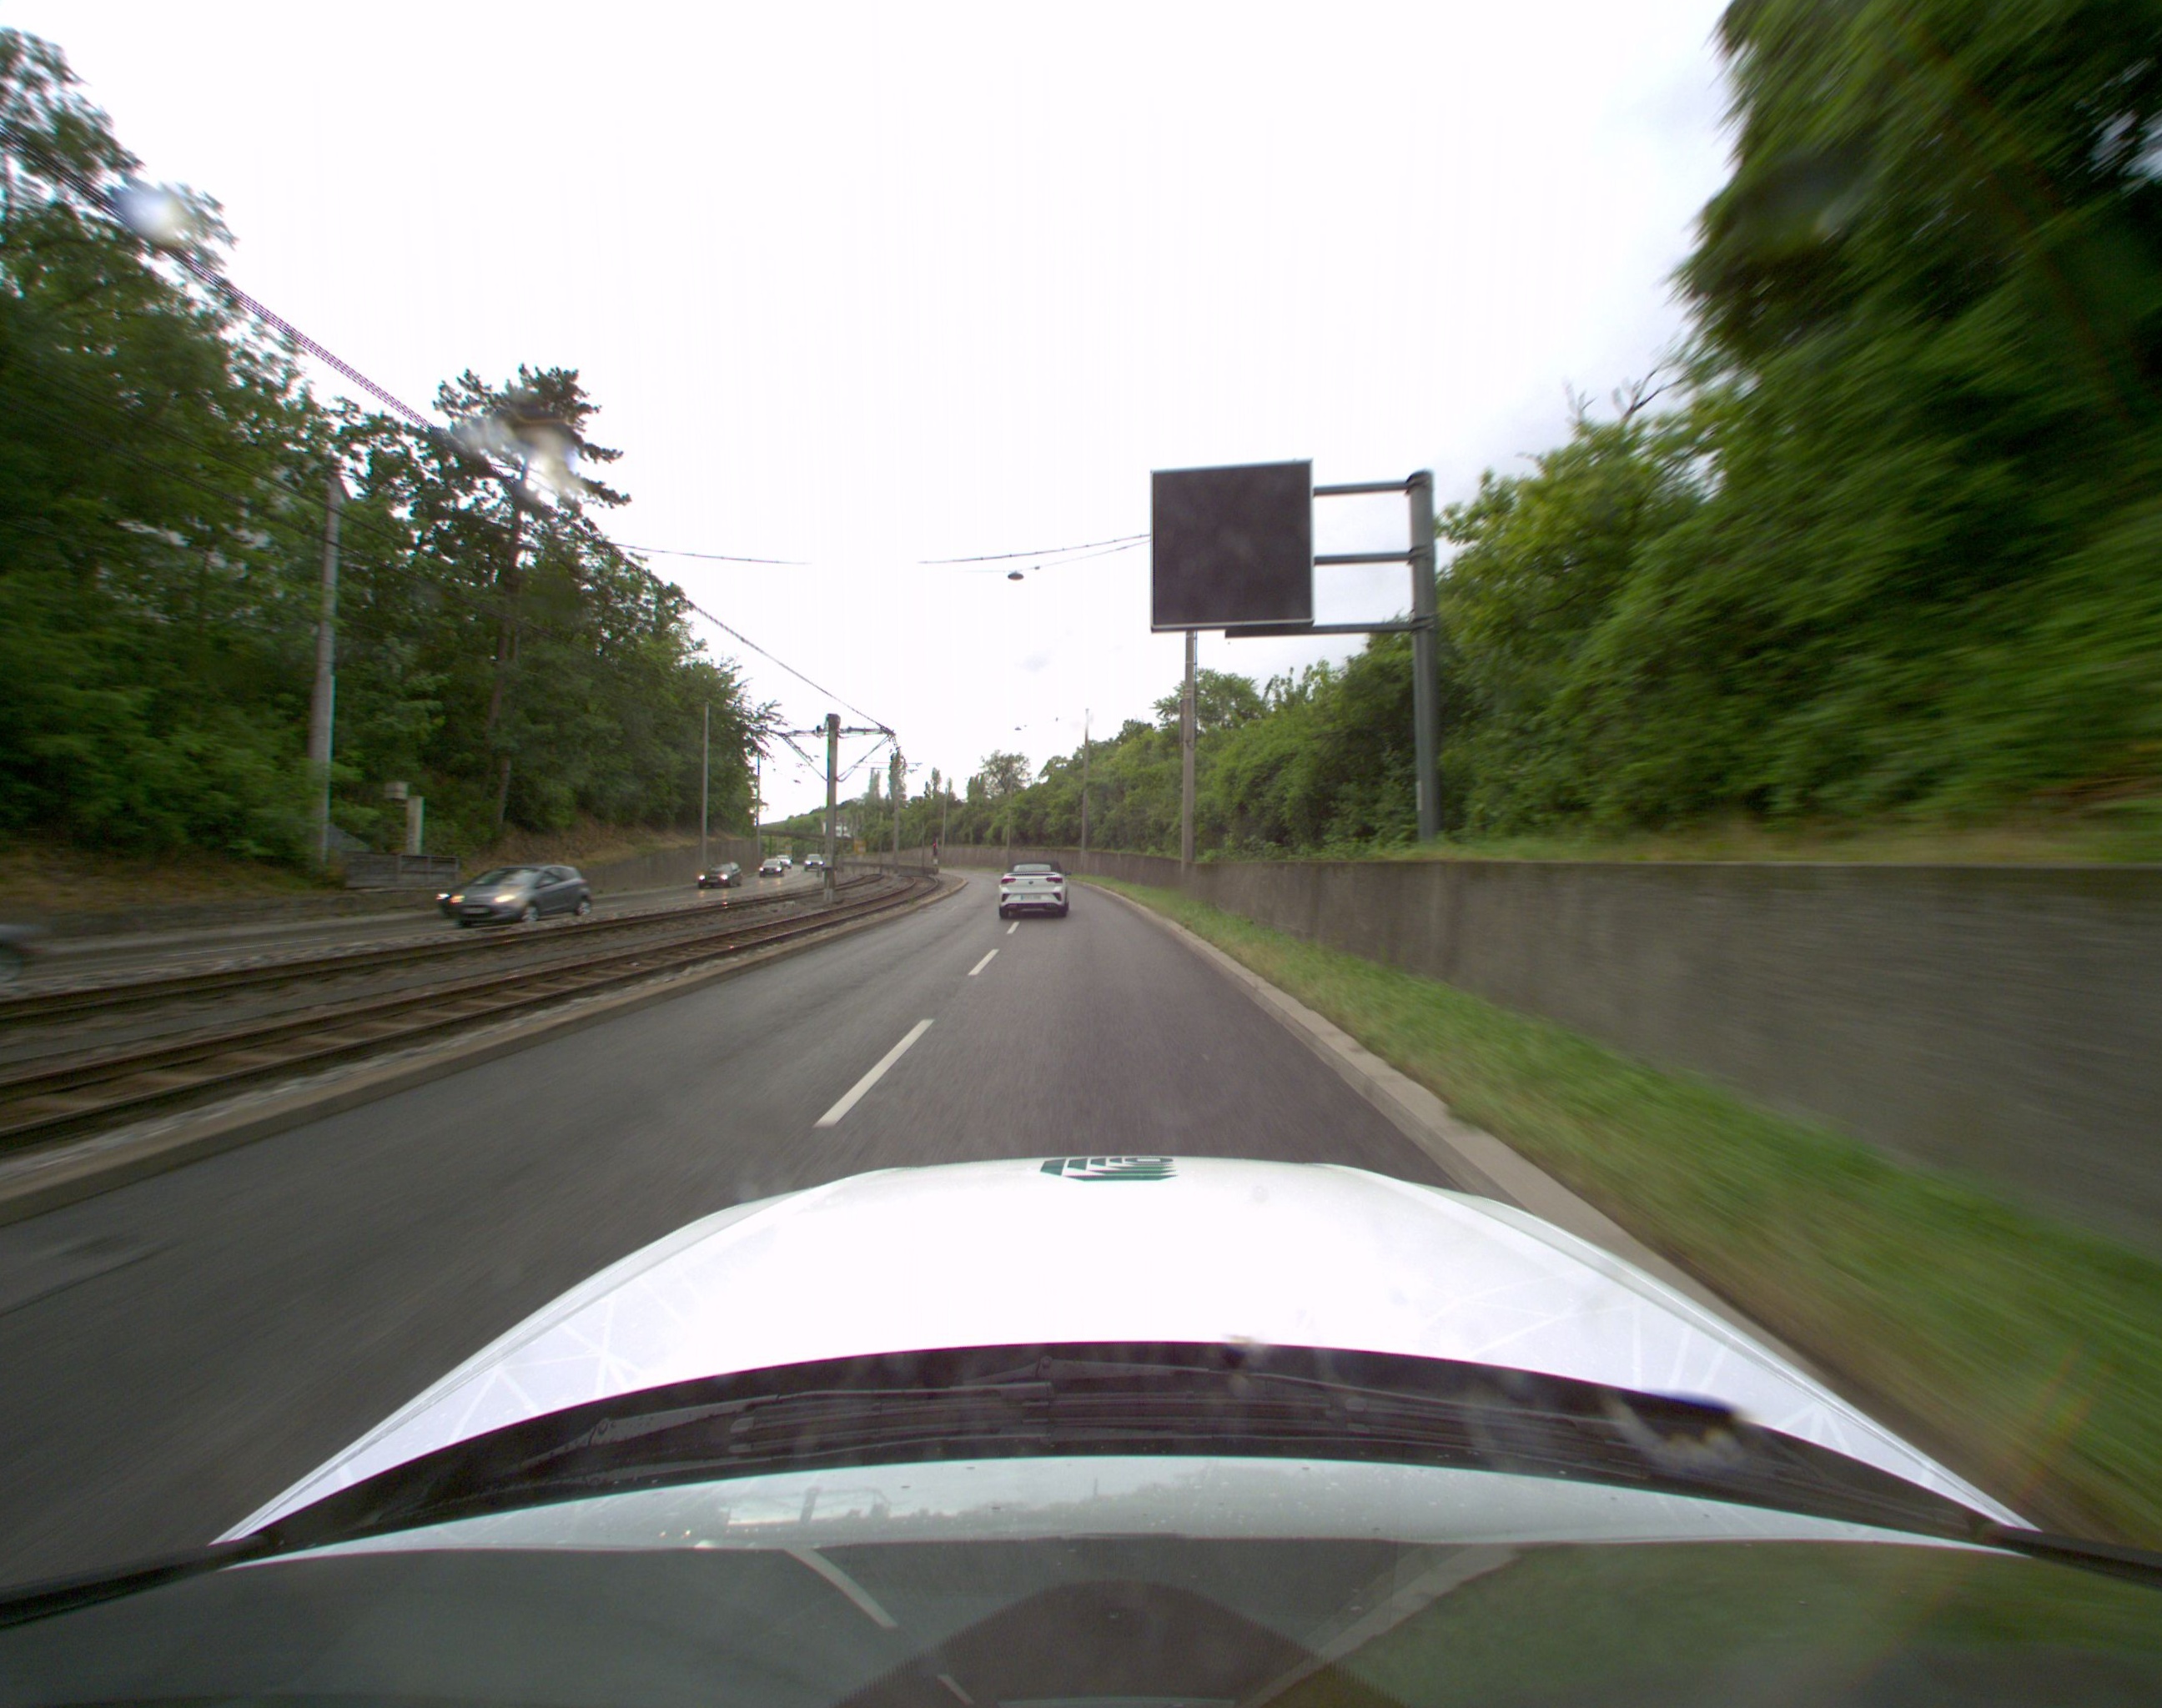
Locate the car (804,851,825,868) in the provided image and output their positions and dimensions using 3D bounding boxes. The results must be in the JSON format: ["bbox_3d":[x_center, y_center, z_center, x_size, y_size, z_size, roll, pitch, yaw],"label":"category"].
[{"bbox_3d":[-29.364,0.581,89.750,1.935,1.787,4.419,-1,0,-21],"label":"car"}]

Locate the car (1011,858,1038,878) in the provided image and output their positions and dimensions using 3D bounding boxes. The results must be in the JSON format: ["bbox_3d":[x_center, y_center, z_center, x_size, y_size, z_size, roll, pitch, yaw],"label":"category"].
[{"bbox_3d":[-4.359,1.035,62.421,1.762,1.501,3.989,0,0,-8],"label":"car"}]

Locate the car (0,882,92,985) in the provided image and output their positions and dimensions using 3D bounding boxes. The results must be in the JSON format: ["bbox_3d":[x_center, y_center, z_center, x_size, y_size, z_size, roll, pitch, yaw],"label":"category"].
[{"bbox_3d":[-14.316,1.036,9.116,1.538,1.258,3.961,-3,0,2],"label":"car"}]

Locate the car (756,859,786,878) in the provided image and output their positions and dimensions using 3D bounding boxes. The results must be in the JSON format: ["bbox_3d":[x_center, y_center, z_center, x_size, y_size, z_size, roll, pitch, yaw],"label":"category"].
[{"bbox_3d":[-25.830,1.187,67.921,1.932,1.415,4.426,-2,0,-16],"label":"car"}]

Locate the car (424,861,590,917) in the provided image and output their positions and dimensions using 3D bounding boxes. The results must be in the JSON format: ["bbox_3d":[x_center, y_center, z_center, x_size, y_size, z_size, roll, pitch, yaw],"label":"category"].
[{"bbox_3d":[-17.466,0.998,25.131,1.811,1.462,4.658,-2,0,0],"label":"car"}]

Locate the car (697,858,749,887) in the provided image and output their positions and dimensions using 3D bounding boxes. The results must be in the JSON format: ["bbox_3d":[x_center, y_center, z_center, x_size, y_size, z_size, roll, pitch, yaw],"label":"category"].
[{"bbox_3d":[-20.120,1.007,45.952,1.745,1.516,4.558,-2,0,-11],"label":"car"}]

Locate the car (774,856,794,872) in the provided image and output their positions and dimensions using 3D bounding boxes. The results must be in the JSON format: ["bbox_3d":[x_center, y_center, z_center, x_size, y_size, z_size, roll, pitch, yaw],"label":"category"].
[{"bbox_3d":[-37.171,1.225,102.100,1.997,2.013,3.980,0,0,-15],"label":"car"}]

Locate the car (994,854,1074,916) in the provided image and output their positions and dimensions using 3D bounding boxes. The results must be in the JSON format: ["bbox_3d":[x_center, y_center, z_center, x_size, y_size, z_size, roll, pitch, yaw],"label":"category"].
[{"bbox_3d":[-1.218,0.817,22.922,1.865,1.524,4.540,-1,-1,1],"label":"car"}]

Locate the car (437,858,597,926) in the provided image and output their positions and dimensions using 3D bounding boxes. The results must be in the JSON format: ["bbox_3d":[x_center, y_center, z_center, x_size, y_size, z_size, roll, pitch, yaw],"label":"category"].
[{"bbox_3d":[-14.131,0.877,20.669,1.533,1.491,3.619,-3,0,-1],"label":"car"}]
